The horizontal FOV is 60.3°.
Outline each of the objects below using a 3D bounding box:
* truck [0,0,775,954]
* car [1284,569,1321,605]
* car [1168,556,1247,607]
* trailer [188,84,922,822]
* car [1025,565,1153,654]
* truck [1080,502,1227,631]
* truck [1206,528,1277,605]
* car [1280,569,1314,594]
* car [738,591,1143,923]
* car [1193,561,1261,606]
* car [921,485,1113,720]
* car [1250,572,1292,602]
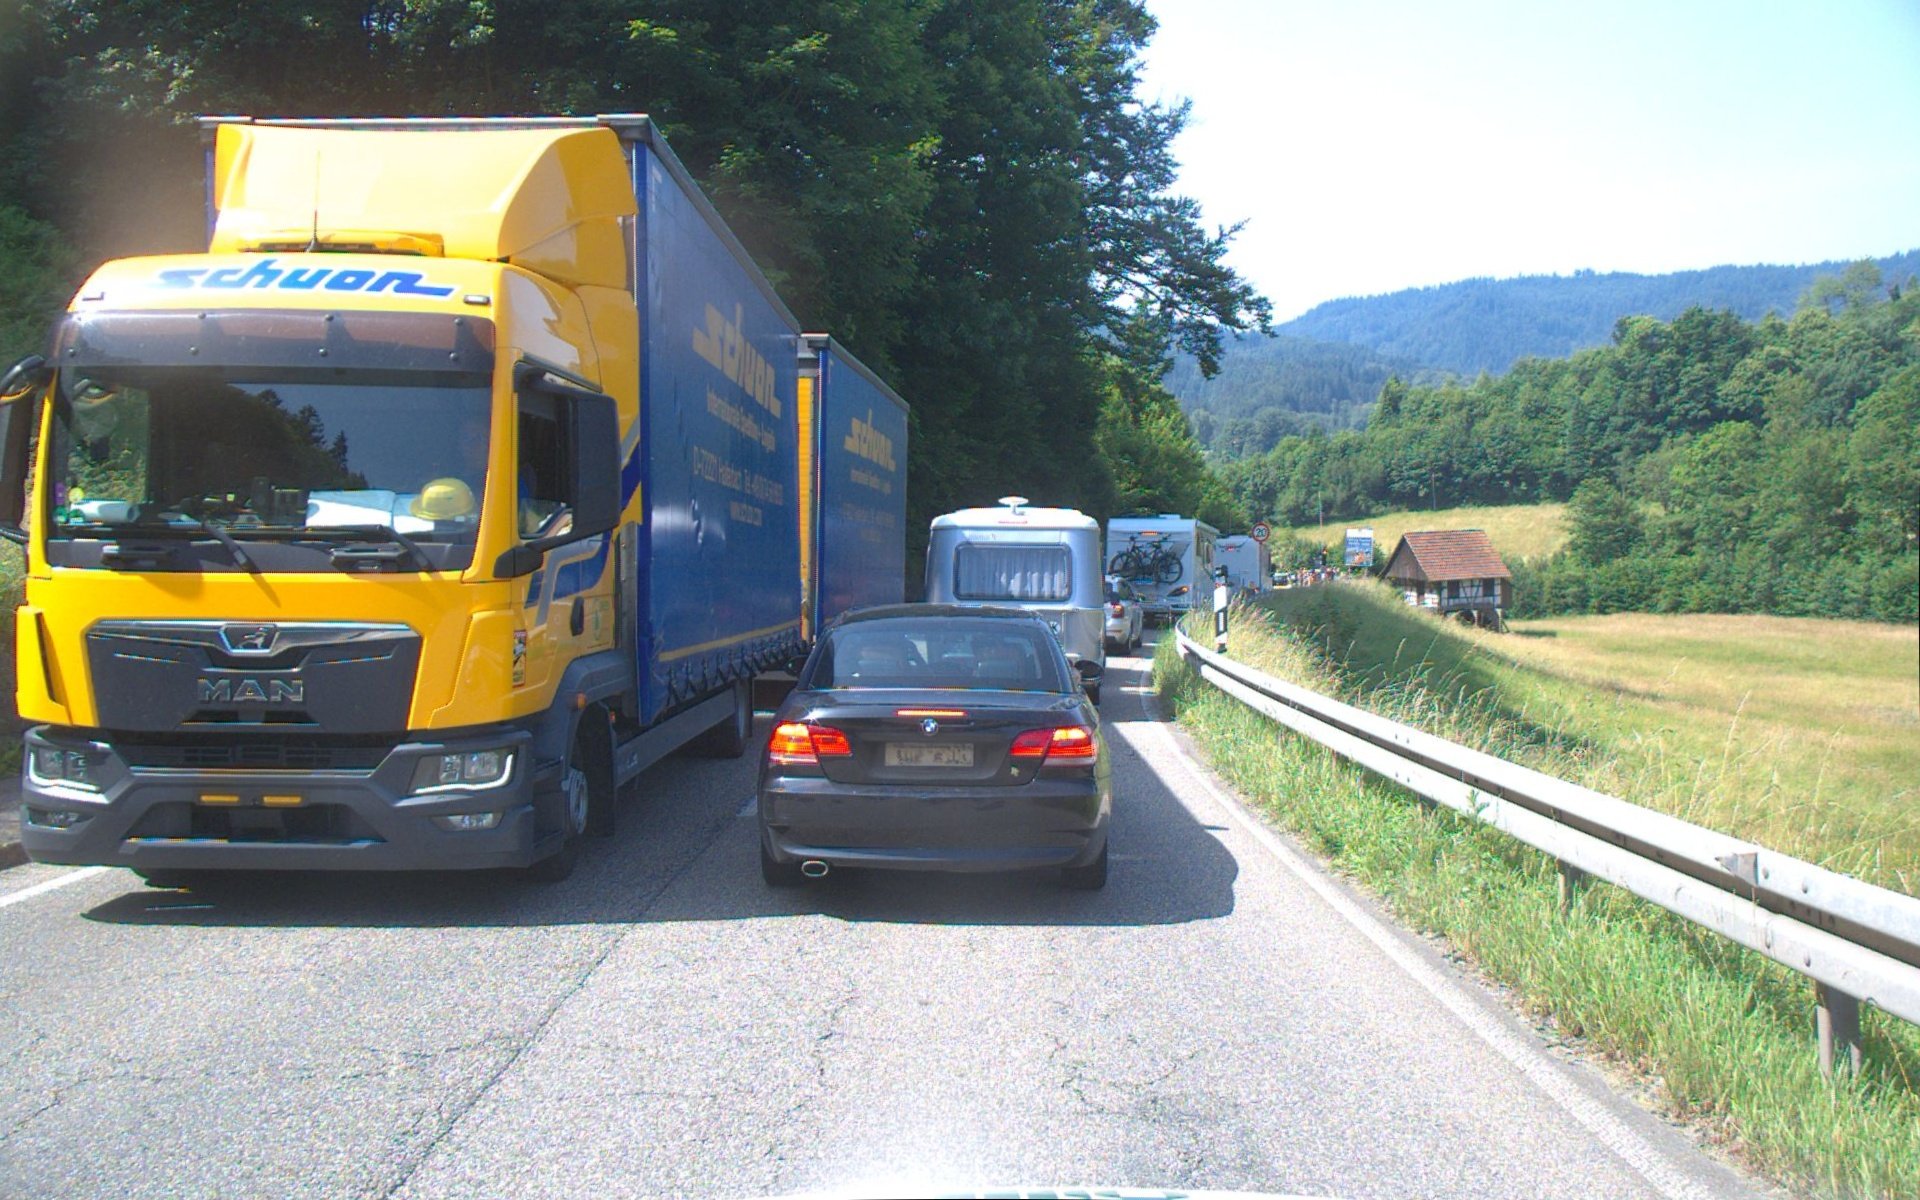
[{"bbox_3d":[-3.210,-0.907,10.177,3.122,4.473,6.574,1,2,2],"label":"truck"},{"bbox_3d":[20.160,-0.732,97.361,1.951,1.959,4.003,4,0,12],"label":"car"},{"bbox_3d":[8.075,-0.623,53.756,1.952,1.489,4.003,3,2,16],"label":"car"},{"bbox_3d":[-2.705,-1.117,17.854,3.191,4.494,15.325,1,2,4],"label":"trailer"},{"bbox_3d":[2.550,0.142,31.837,1.951,1.510,4.004,3,1,11],"label":"car"},{"bbox_3d":[5.281,-0.916,44.094,2.732,3.049,6.873,3,2,15],"label":"truck"},{"bbox_3d":[11.229,-1.259,65.663,2.190,2.853,6.237,1,0,14],"label":"truck"},{"bbox_3d":[23.438,-1.270,114.865,1.951,1.603,4.002,1,0,17],"label":"car"},{"bbox_3d":[-0.016,0.666,9.028,1.734,1.359,3.768,1,1,2],"label":"car"},{"bbox_3d":[9.601,-0.625,59.320,1.750,1.489,4.002,3,2,18],"label":"car"},{"bbox_3d":[0.780,-0.032,19.553,1.951,2.394,4.917,1,1,4],"label":"car"},{"bbox_3d":[16.587,-0.679,88.036,1.866,1.512,4.003,1,0,15],"label":"car"}]
